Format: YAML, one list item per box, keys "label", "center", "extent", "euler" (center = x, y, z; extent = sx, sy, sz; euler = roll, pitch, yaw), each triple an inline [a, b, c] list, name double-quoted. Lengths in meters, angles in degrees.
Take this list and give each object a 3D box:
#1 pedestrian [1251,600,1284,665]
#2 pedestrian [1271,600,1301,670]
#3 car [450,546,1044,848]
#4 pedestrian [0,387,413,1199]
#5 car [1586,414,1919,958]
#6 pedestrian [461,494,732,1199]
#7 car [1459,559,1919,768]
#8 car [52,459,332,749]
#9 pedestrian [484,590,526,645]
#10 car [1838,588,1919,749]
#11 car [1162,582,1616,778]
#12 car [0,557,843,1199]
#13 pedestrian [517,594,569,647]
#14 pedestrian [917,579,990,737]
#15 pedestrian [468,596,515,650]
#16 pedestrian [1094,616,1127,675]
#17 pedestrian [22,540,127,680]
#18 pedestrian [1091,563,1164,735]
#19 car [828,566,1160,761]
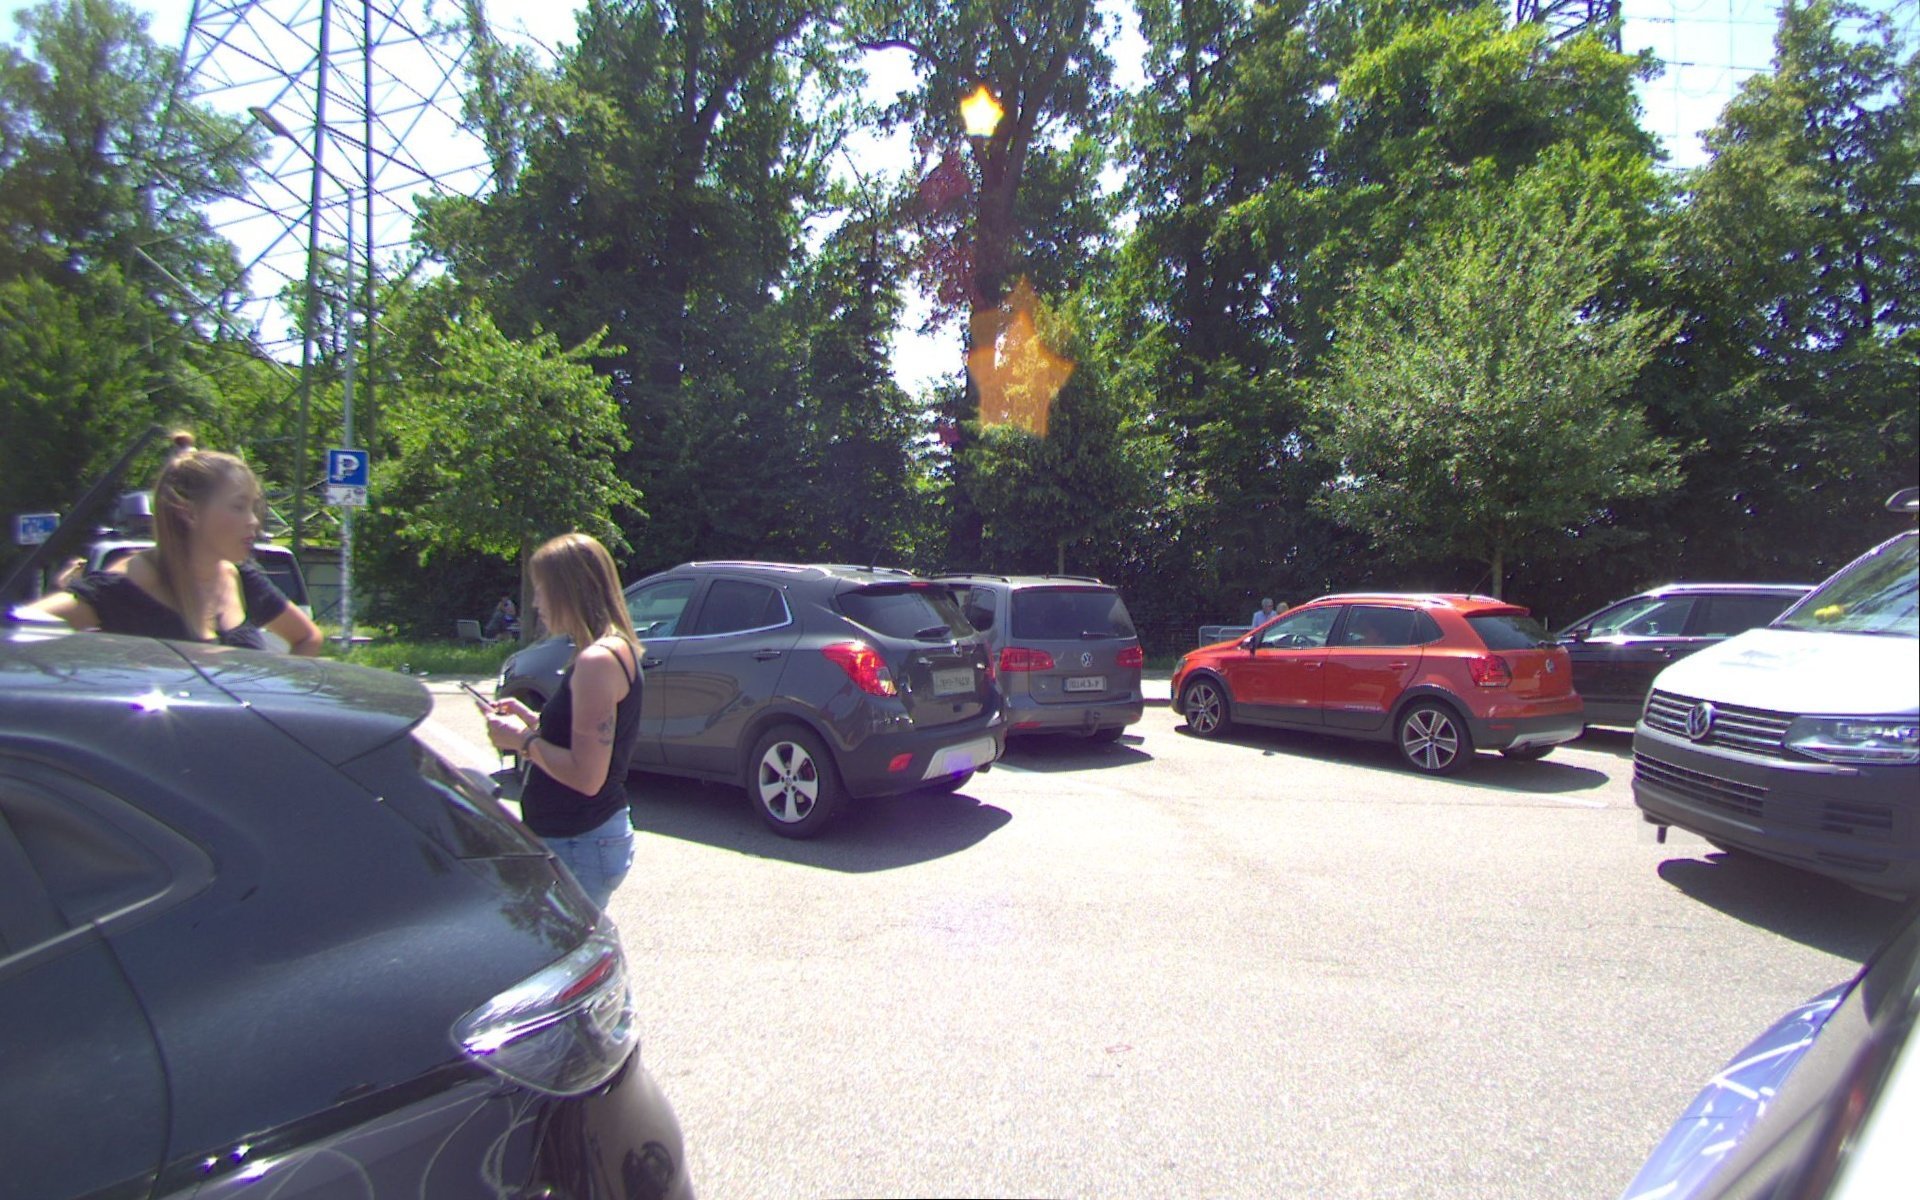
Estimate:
- label: "pedestrian"
  center: [5.780, 0.599, 19.034]
  extent: [0.433, 1.207, 0.414]
  euler: [0, 0, -30]
- label: "pedestrian"
  center: [5.761, 0.609, 17.886]
  extent: [0.348, 1.207, 0.367]
  euler: [0, 0, -20]
- label: "car"
  center: [-1.643, 0.509, 7.367]
  extent: [4.135, 1.637, 1.818]
  euler: [1, 0, 32]
- label: "pedestrian"
  center: [-1.870, 0.502, 2.542]
  extent: [0.478, 1.883, 0.912]
  euler: [1, 0, -1]
- label: "car"
  center: [6.218, 0.355, 4.695]
  extent: [5.336, 2.131, 1.842]
  euler: [1, 1, 4]
- label: "pedestrian"
  center: [-0.939, 0.569, 2.611]
  extent: [0.477, 1.614, 0.502]
  euler: [1, -1, -44]
- label: "car"
  center: [7.128, 0.499, 9.715]
  extent: [1.679, 1.637, 3.863]
  euler: [1, 0, -40]
- label: "car"
  center: [-8.387, 0.023, 10.845]
  extent: [1.897, 2.400, 4.963]
  euler: [1, -1, -43]
- label: "pedestrian"
  center: [-11.019, 0.417, 24.512]
  extent: [0.539, 1.318, 0.758]
  euler: [0, 0, 37]
- label: "car"
  center: [10.280, 0.648, 8.751]
  extent: [1.813, 1.473, 3.776]
  euler: [1, 0, -36]
- label: "car"
  center: [3.859, 0.608, 9.680]
  extent: [1.588, 1.485, 3.751]
  euler: [1, 0, -34]
- label: "car"
  center: [-2.055, 0.711, 0.770]
  extent: [1.776, 1.476, 3.627]
  euler: [0, 1, 44]
- label: "pedestrian"
  center: [-9.693, 0.466, 23.530]
  extent: [0.810, 1.201, 0.836]
  euler: [0, 0, 40]
- label: "pedestrian"
  center: [-0.069, 0.550, 10.050]
  extent: [0.511, 1.516, 0.560]
  euler: [0, 0, -30]
- label: "pedestrian"
  center: [-10.506, 0.500, 22.695]
  extent: [0.785, 1.178, 0.696]
  euler: [0, 0, 39]
- label: "pedestrian"
  center: [2.336, 0.699, 15.704]
  extent: [0.494, 0.890, 0.512]
  euler: [0, 0, 10]
- label: "pedestrian"
  center: [-12.451, 0.138, 14.243]
  extent: [0.827, 1.903, 0.774]
  euler: [0, 0, 10]
- label: "pedestrian"
  center: [1.743, 0.494, 10.575]
  extent: [0.576, 1.744, 0.483]
  euler: [0, 0, -20]
- label: "car"
  center: [0.150, 0.518, 10.620]
  extent: [1.670, 1.637, 3.912]
  euler: [0, 0, -30]
